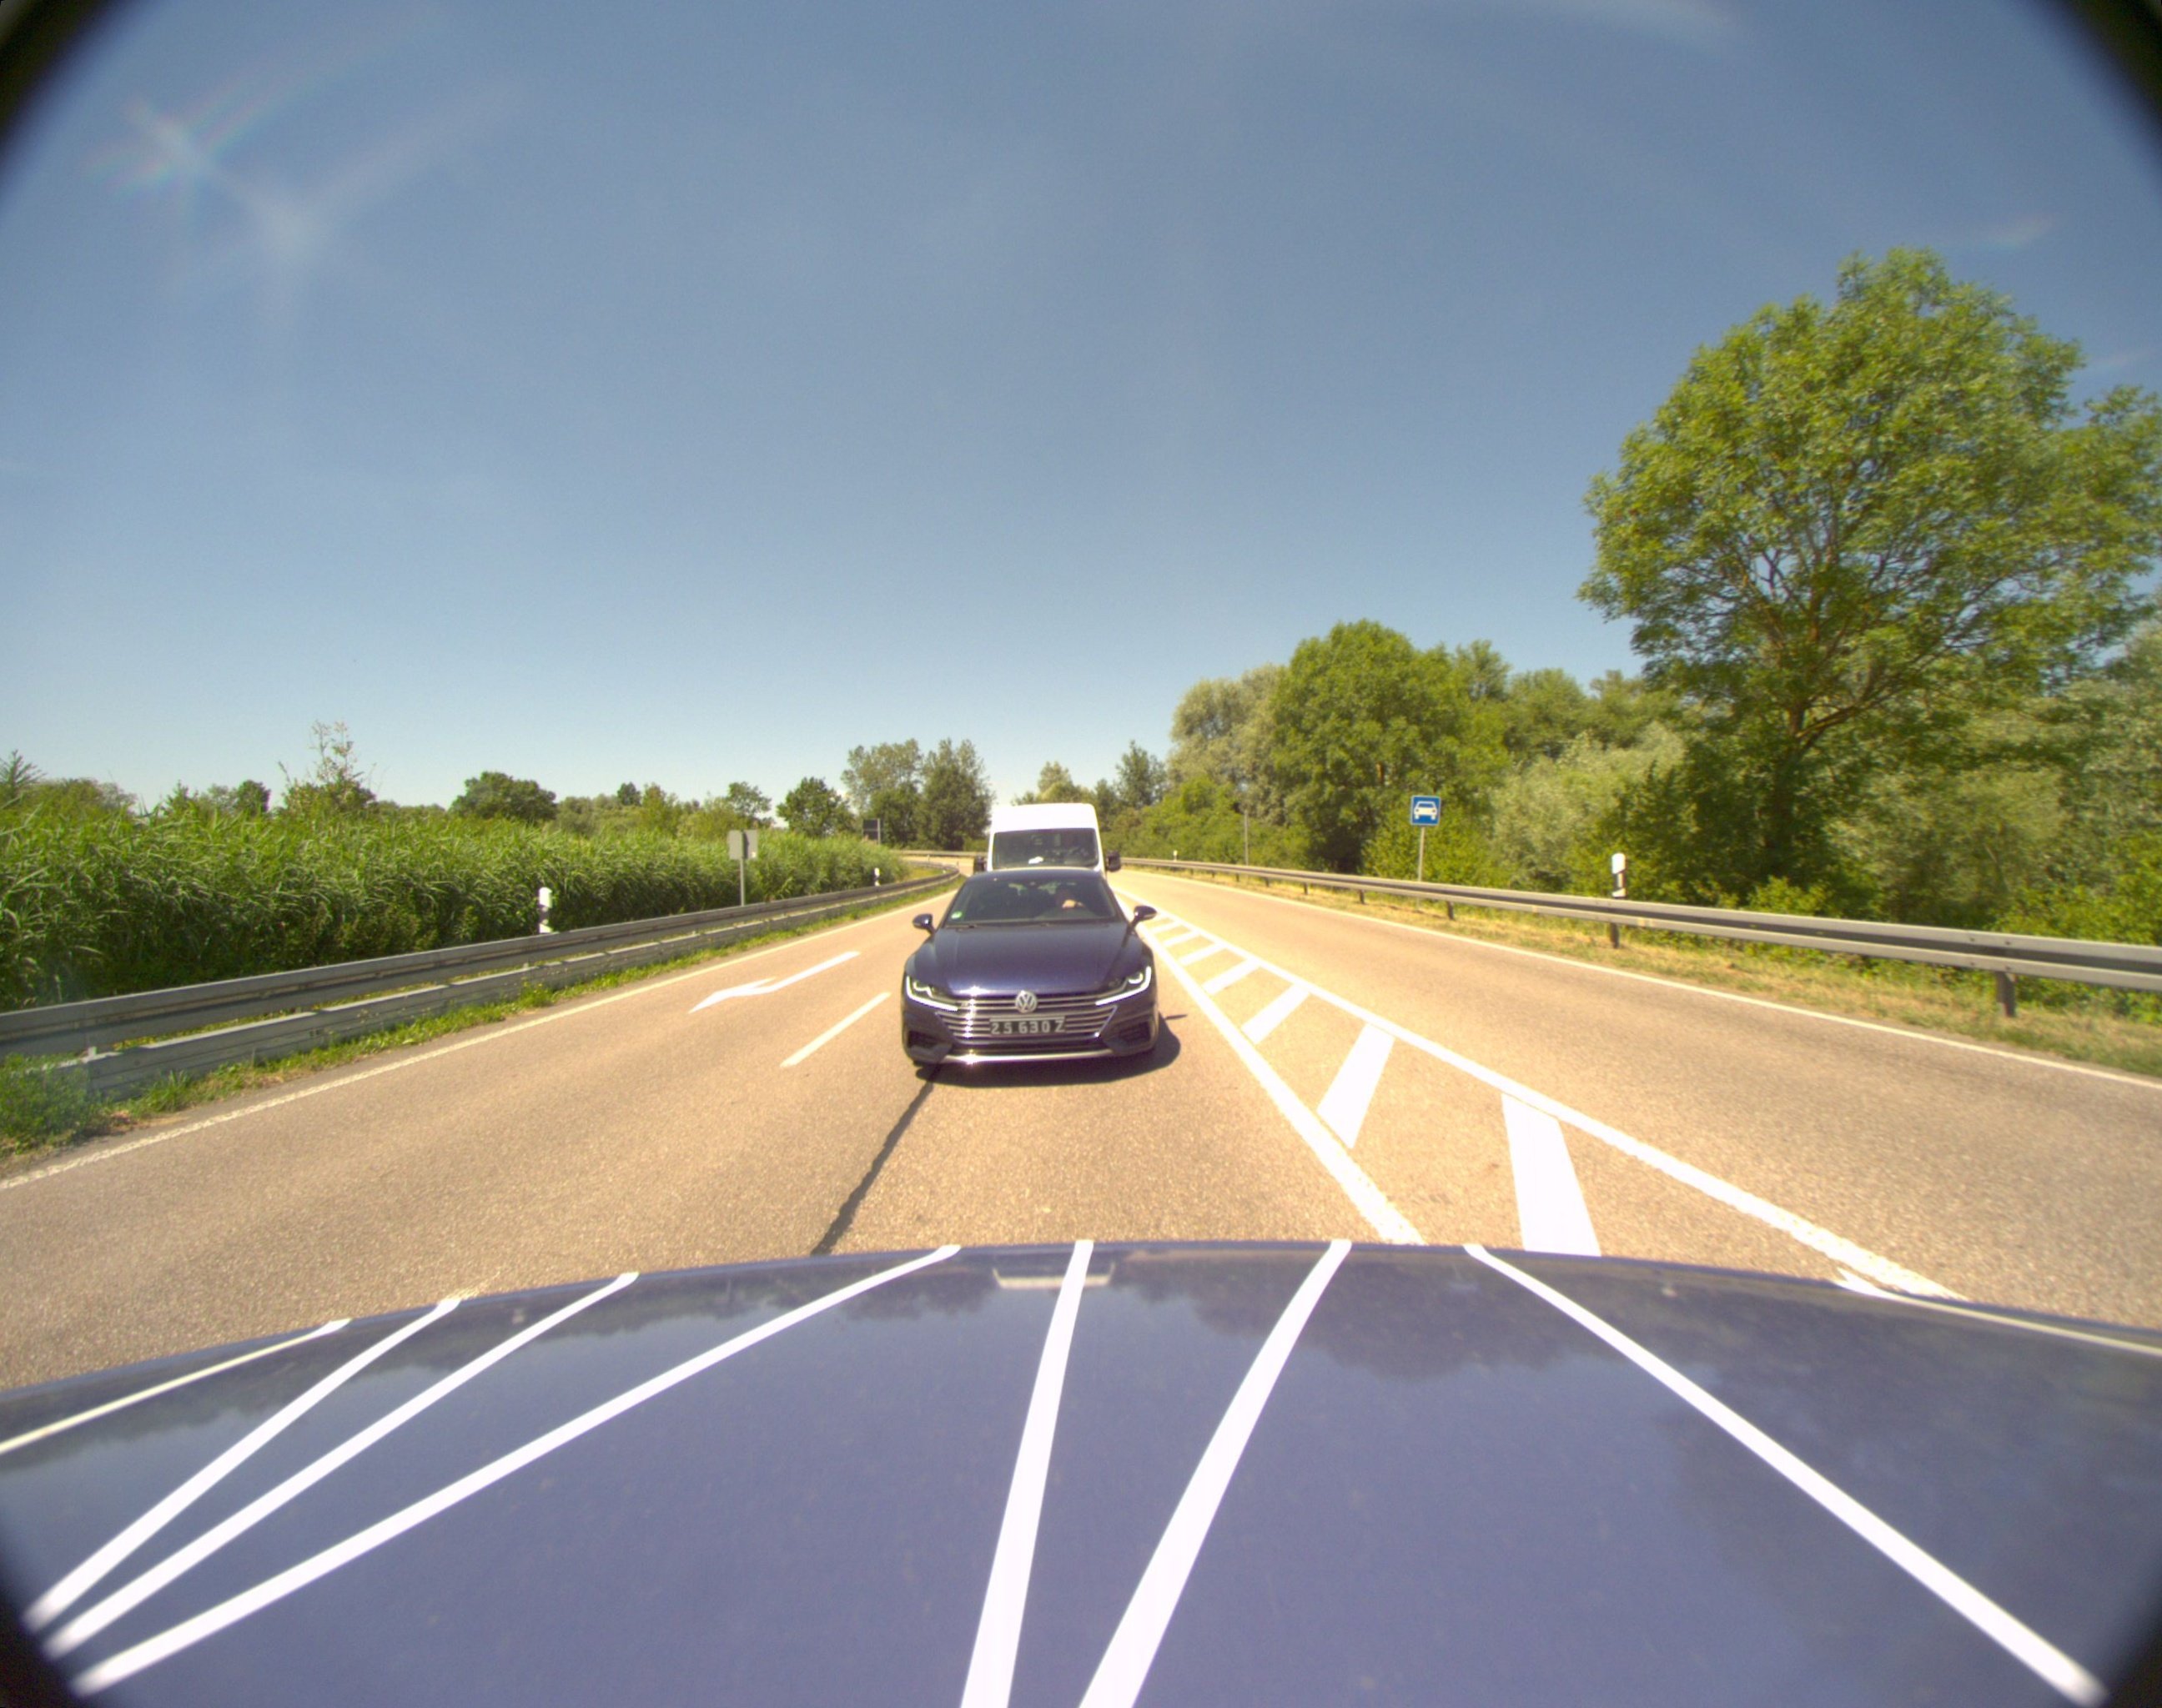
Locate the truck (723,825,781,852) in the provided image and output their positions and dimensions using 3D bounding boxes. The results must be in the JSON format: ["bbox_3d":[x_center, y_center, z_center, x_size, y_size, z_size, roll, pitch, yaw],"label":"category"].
[{"bbox_3d":[-41.714,-1.924,96.147,9.054,3.052,2.583,-2,1,38],"label":"truck"}]

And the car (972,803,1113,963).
[{"bbox_3d":[-0.574,0.412,14.515,2.059,2.376,5.826,-2,1,0],"label":"car"}]

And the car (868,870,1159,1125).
[{"bbox_3d":[-0.408,0.942,6.739,1.761,1.401,3.999,-2,1,0],"label":"car"}]
